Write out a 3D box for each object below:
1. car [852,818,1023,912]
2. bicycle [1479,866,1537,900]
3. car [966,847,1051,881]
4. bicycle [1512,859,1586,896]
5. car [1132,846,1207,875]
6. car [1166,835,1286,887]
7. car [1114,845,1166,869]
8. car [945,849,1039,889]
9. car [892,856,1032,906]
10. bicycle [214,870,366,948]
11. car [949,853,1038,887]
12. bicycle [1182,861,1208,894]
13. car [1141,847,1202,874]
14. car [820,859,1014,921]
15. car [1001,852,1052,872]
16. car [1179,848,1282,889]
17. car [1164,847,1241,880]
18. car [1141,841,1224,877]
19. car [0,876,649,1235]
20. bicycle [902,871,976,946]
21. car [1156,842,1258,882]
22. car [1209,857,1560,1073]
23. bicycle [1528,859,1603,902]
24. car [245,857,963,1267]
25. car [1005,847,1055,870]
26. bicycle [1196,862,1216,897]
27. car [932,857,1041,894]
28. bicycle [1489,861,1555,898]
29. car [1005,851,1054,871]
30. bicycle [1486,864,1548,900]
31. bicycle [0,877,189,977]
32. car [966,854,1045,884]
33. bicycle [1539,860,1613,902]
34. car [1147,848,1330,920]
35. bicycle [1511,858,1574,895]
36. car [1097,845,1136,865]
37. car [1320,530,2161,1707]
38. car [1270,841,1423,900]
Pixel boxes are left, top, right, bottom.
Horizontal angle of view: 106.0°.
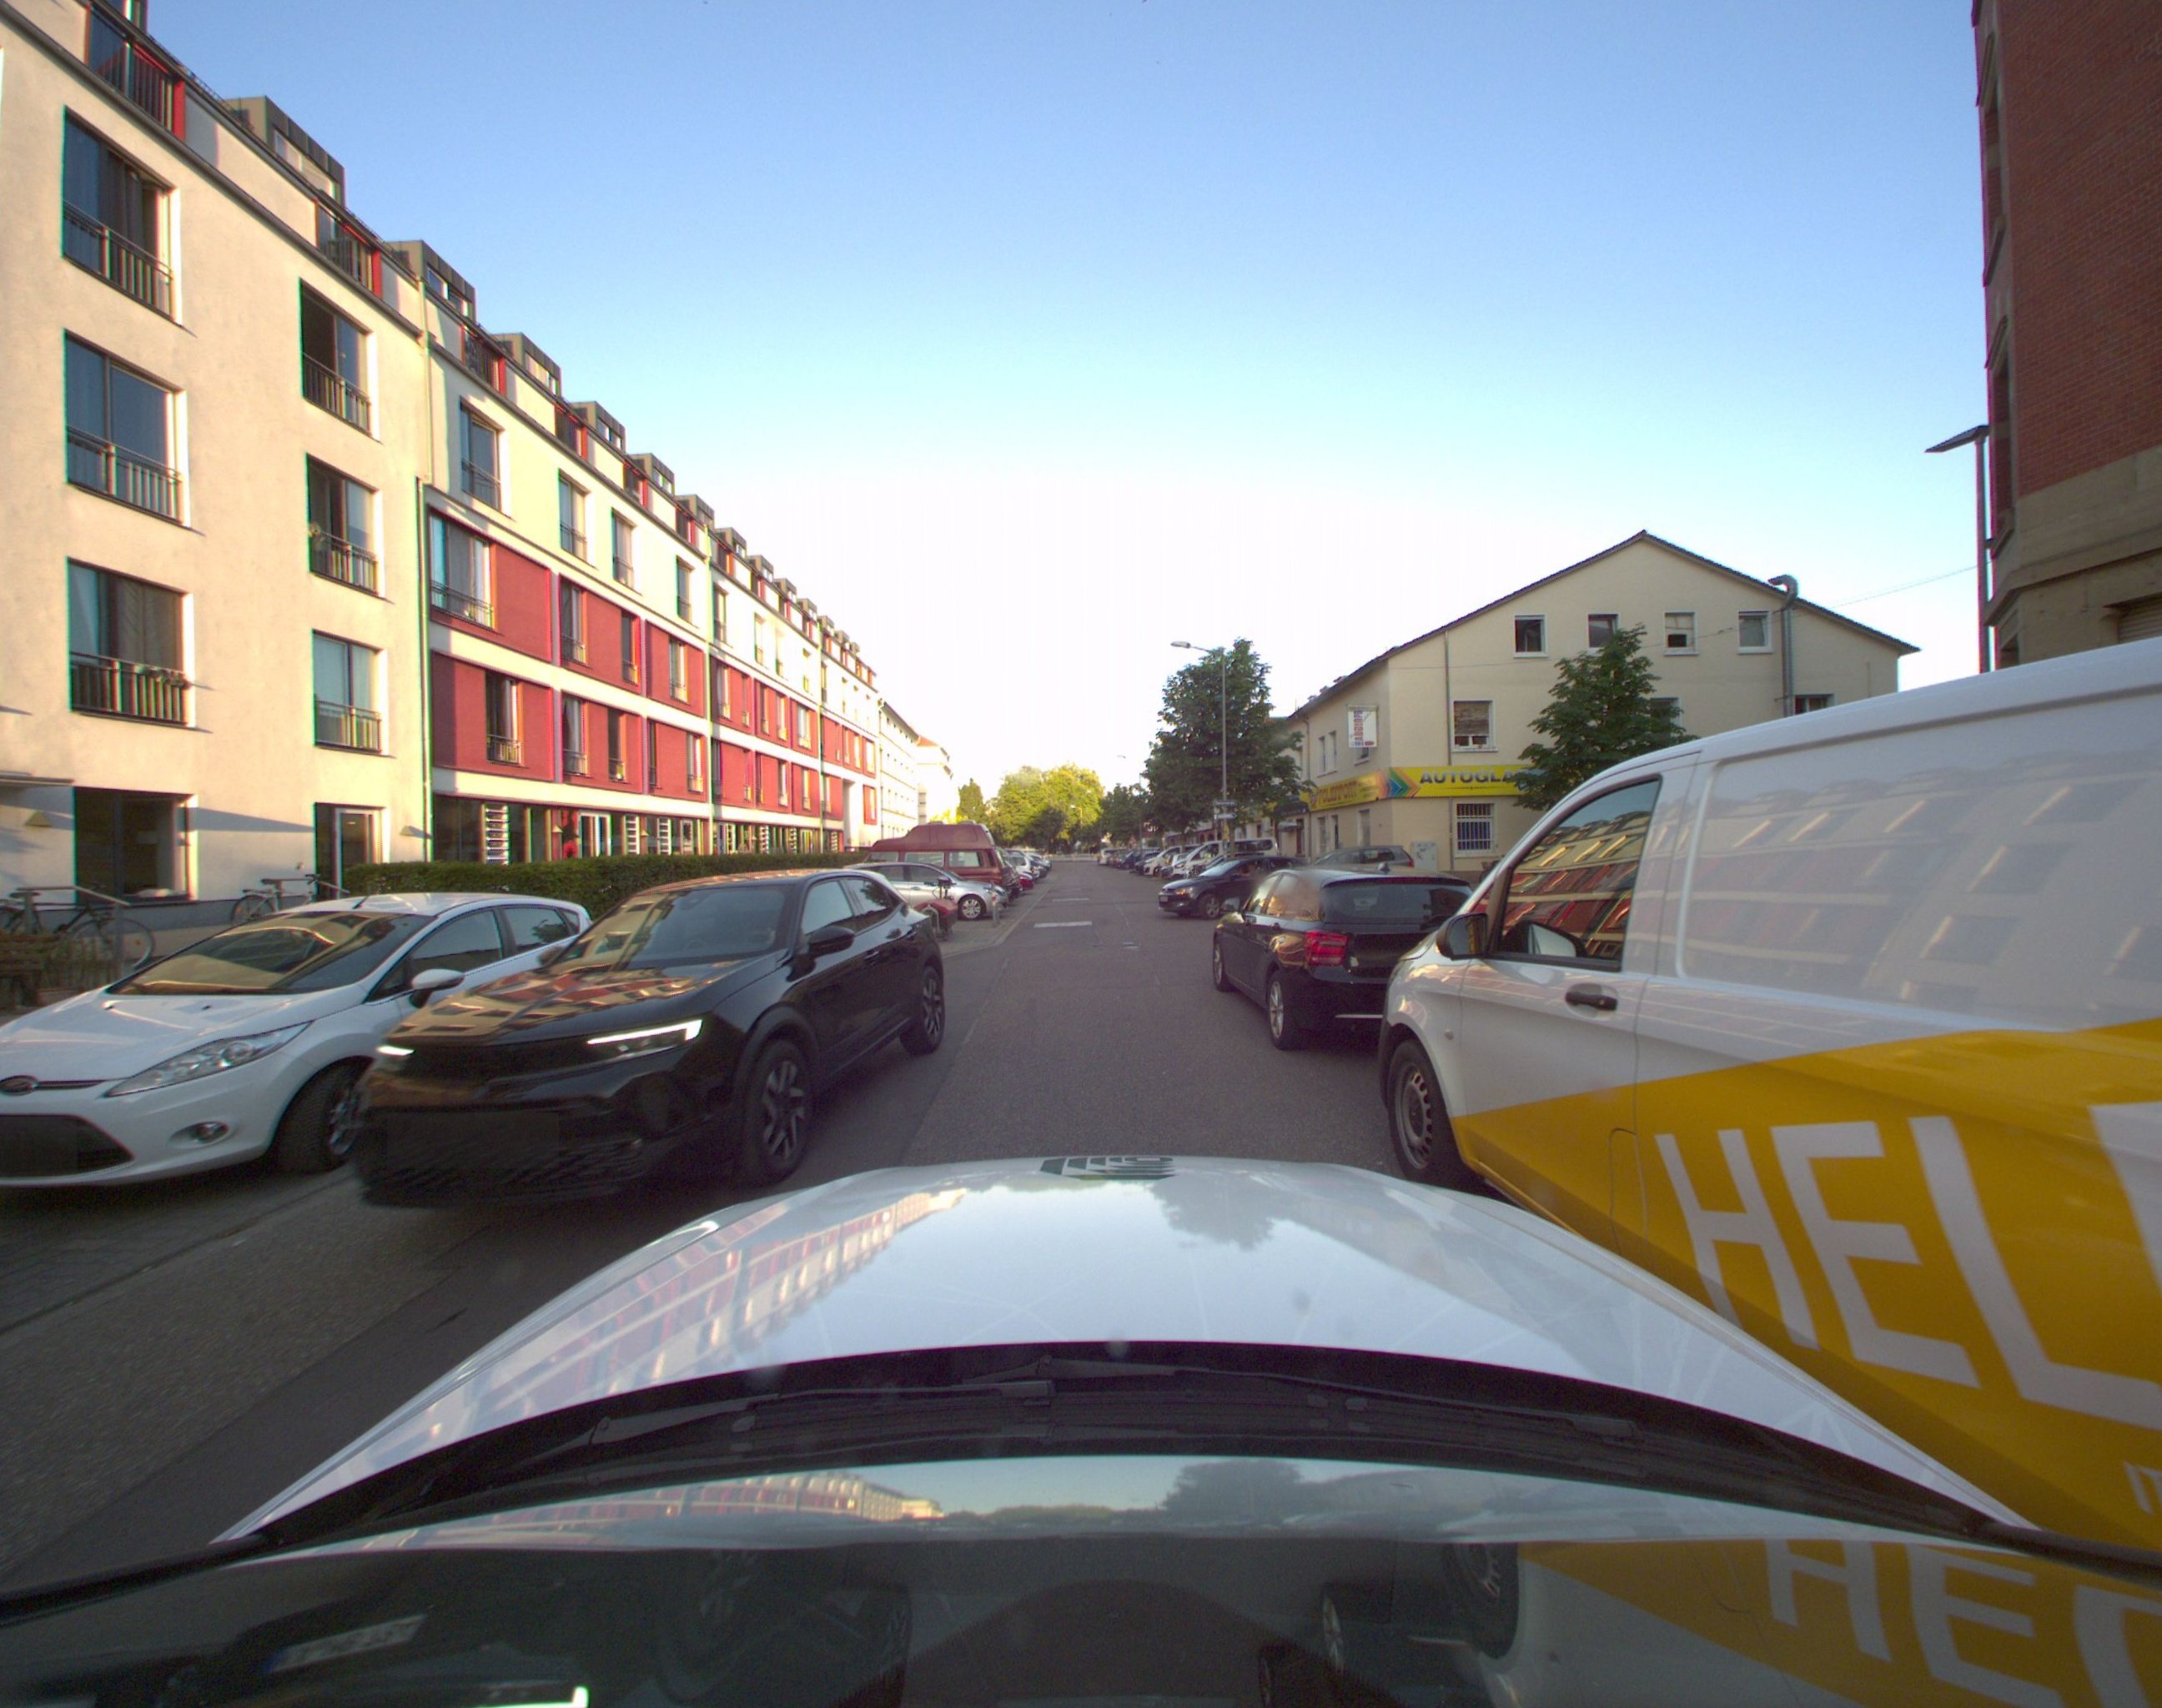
[{"bbox_3d":[-4.000,0.301,23.260,4.495,2.584,2.001,0,0,1],"label":"car"},{"bbox_3d":[13.124,0.895,25.050,1.598,1.019,0.343,0,2,-1],"label":"bicycle"},{"bbox_3d":[-4.244,0.575,48.237,4.835,2.021,1.906,0,0,0],"label":"car"},{"bbox_3d":[13.179,0.669,22.948,1.843,1.010,0.428,0,2,1],"label":"bicycle"},{"bbox_3d":[6.129,0.442,56.941,4.931,1.689,2.075,-3,0,-2],"label":"car"},{"bbox_3d":[6.470,0.319,36.839,4.973,1.983,2.220,-3,0,0],"label":"car"},{"bbox_3d":[5.408,0.259,74.574,4.472,1.911,1.685,-3,0,-5],"label":"car"},{"bbox_3d":[-4.207,0.686,38.854,4.243,1.836,2.000,0,0,0],"label":"car"},{"bbox_3d":[-3.677,0.823,25.828,4.198,1.538,1.790,0,0,-2],"label":"car"},{"bbox_3d":[-12.111,0.833,12.499,1.768,1.148,0.611,0,0,2],"label":"bicycle"},{"bbox_3d":[-4.379,0.793,41.326,4.243,1.660,2.000,0,0,0],"label":"car"},{"bbox_3d":[4.154,0.847,29.700,0.437,1.130,2.013,-3,0,-5],"label":"bicycle"},{"bbox_3d":[6.850,0.493,61.851,4.305,1.804,1.809,-3,0,-2],"label":"car"},{"bbox_3d":[-4.035,0.870,20.681,4.606,1.460,1.878,0,0,-4],"label":"car"},{"bbox_3d":[-4.619,0.675,69.329,4.243,1.714,2.000,0,0,0],"label":"car"},{"bbox_3d":[6.193,0.584,34.051,3.909,1.451,1.767,-4,0,-3],"label":"car"},{"bbox_3d":[6.652,0.494,44.816,3.898,1.526,1.939,-3,0,1],"label":"car"},{"bbox_3d":[6.438,0.294,52.074,4.931,1.958,2.048,-3,0,-2],"label":"car"},{"bbox_3d":[-4.906,0.996,5.789,1.647,1.530,4.013,-1,0,-3],"label":"car"},{"bbox_3d":[-2.615,0.959,15.389,0.804,1.221,2.866,0,0,2],"label":"bicycle"},{"bbox_3d":[6.482,0.392,42.183,4.927,1.742,2.049,-3,0,0],"label":"car"},{"bbox_3d":[2.385,0.756,7.621,1.716,1.424,4.252,0,0,0],"label":"car"},{"bbox_3d":[13.273,0.709,22.306,1.917,1.128,0.427,-1,1,-8],"label":"bicycle"},{"bbox_3d":[-2.200,0.833,5.168,1.770,1.517,4.008,-3,0,7],"label":"car"},{"bbox_3d":[-4.793,0.383,76.738,4.519,2.134,2.000,0,0,0],"label":"car"},{"bbox_3d":[4.576,0.928,29.888,0.384,1.200,2.017,-3,0,1],"label":"bicycle"},{"bbox_3d":[-3.818,0.856,33.436,4.195,1.490,1.850,0,0,0],"label":"car"},{"bbox_3d":[13.847,0.805,25.576,1.853,1.149,0.344,0,2,1],"label":"bicycle"},{"bbox_3d":[-4.654,0.626,74.101,4.243,1.749,2.000,0,0,0],"label":"car"},{"bbox_3d":[13.221,0.854,24.700,1.726,1.070,0.343,0,2,-1],"label":"bicycle"},{"bbox_3d":[-12.250,0.865,9.905,1.909,1.141,0.812,0,0,0],"label":"bicycle"},{"bbox_3d":[-4.178,0.810,45.682,4.243,1.652,1.888,0,0,0],"label":"car"},{"bbox_3d":[13.288,0.717,21.863,1.848,1.075,0.427,-1,2,-8],"label":"bicycle"},{"bbox_3d":[3.708,0.663,19.314,3.937,1.455,1.648,-2,0,-16],"label":"car"},{"bbox_3d":[13.305,0.645,23.476,1.596,1.041,0.344,0,2,1],"label":"bicycle"},{"bbox_3d":[3.870,0.128,90.009,3.961,1.911,2.046,-3,0,-5],"label":"car"},{"bbox_3d":[2.346,0.509,2.181,1.887,1.884,5.081,-1,0,0],"label":"car"},{"bbox_3d":[7.972,0.466,24.701,4.036,1.514,1.757,-3,2,1],"label":"car"}]
